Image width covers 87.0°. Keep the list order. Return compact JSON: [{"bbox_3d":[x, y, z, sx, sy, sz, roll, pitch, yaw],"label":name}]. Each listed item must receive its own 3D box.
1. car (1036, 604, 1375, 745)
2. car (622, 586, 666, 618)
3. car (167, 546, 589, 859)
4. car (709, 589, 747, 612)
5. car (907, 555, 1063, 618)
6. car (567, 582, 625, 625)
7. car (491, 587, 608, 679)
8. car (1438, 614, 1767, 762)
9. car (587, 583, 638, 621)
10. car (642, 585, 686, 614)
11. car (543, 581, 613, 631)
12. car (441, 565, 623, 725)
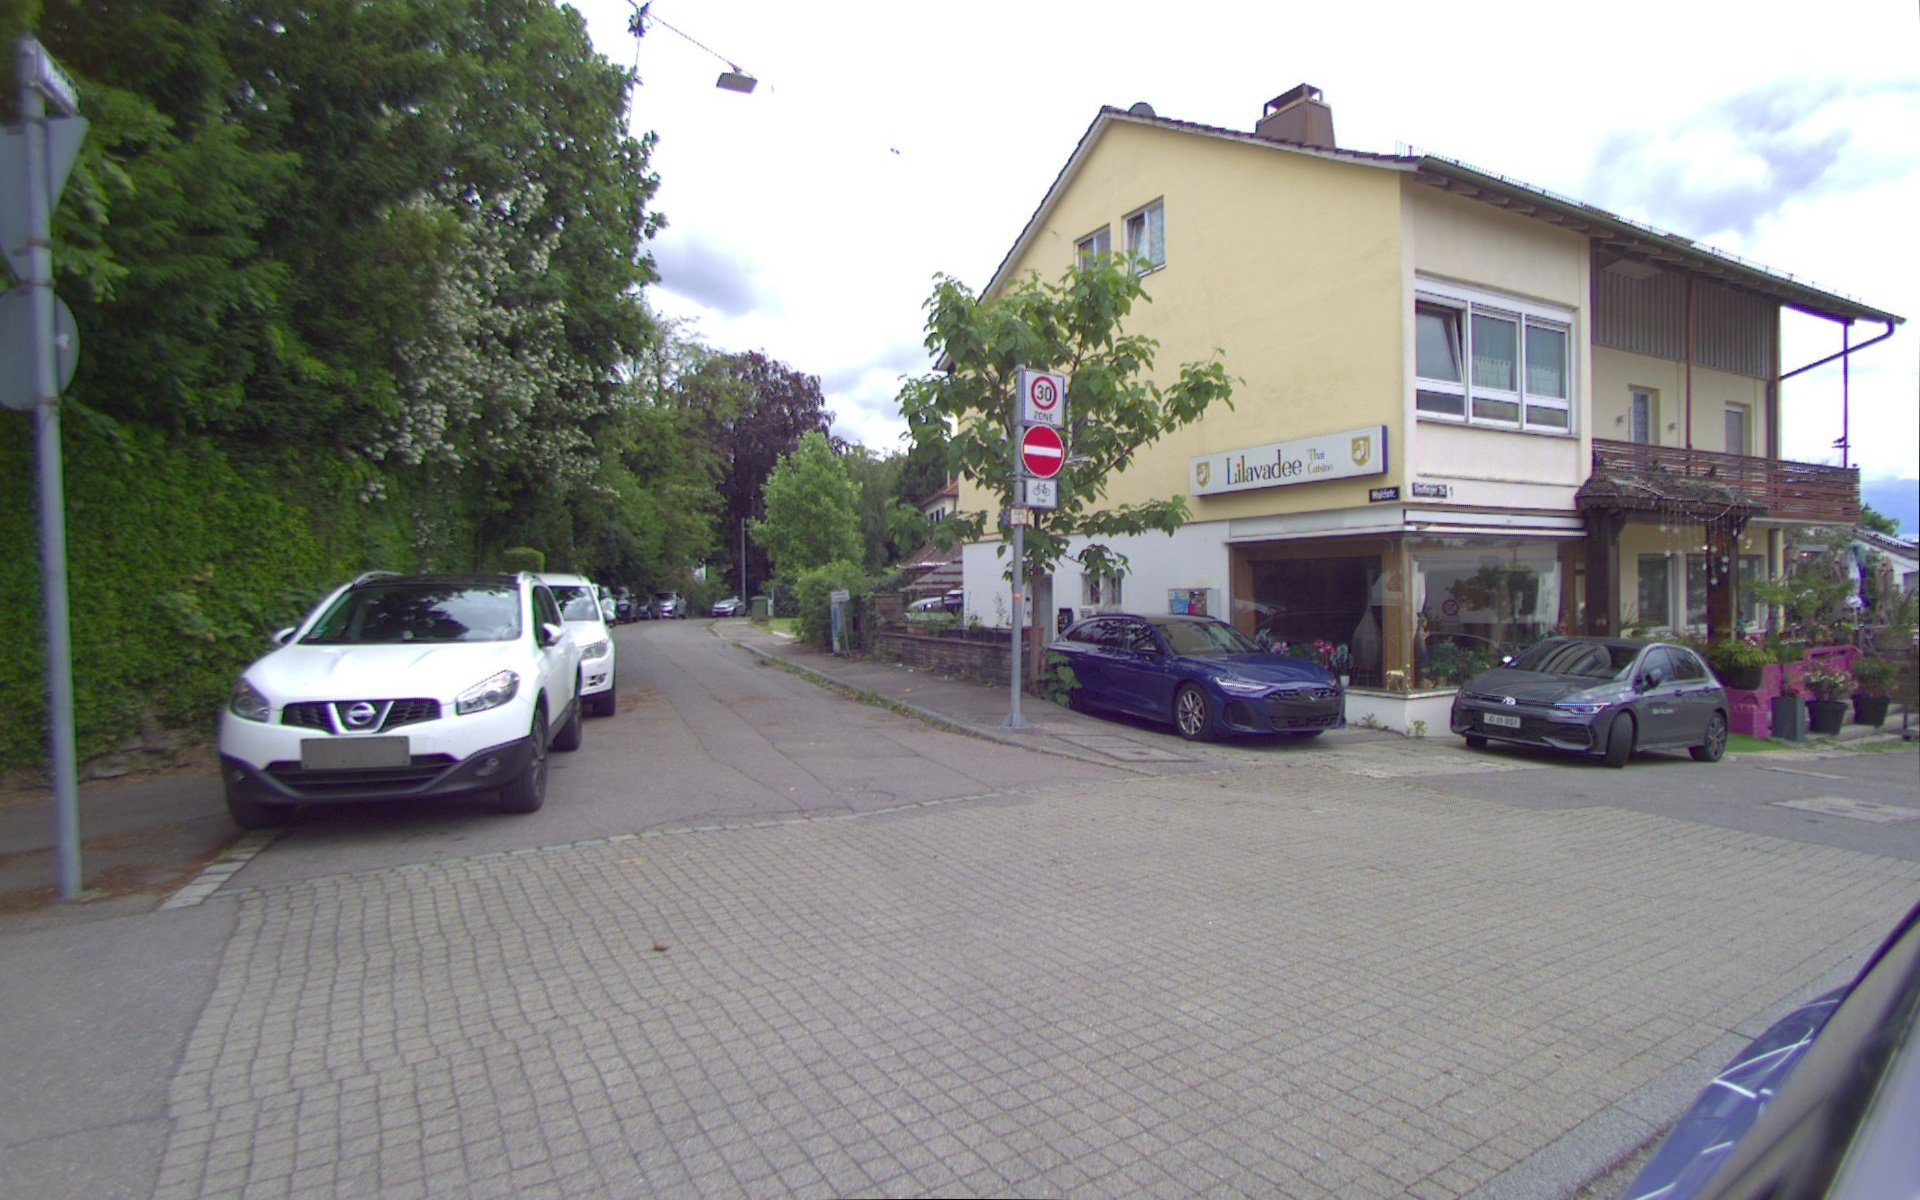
[{"bbox_3d":[2.901,0.829,13.213,1.761,1.405,4.758,2,0,-23],"label":"car"},{"bbox_3d":[-15.935,0.077,51.112,1.542,1.502,3.479,-1,1,-8],"label":"car"},{"bbox_3d":[-3.880,0.508,7.556,1.761,1.643,4.144,-1,1,-16],"label":"car"},{"bbox_3d":[-16.368,0.032,71.457,1.547,1.502,3.468,0,1,7],"label":"car"},{"bbox_3d":[0.738,-0.370,30.223,4.235,1.480,1.802,4,-2,-19],"label":"car"},{"bbox_3d":[-13.440,0.106,37.546,1.542,1.502,3.481,-1,1,-11],"label":"car"},{"bbox_3d":[-7.419,0.503,18.540,1.761,1.441,4.080,-1,1,-20],"label":"car"},{"bbox_3d":[7.929,1.066,12.374,4.242,1.480,1.800,5,-2,-34],"label":"car"},{"bbox_3d":[-14.224,0.047,41.526,1.542,1.502,3.481,-1,1,-11],"label":"car"},{"bbox_3d":[-16.259,-0.038,55.795,1.543,1.502,3.476,0,1,-3],"label":"car"},{"bbox_3d":[-12.233,0.140,32.592,1.542,1.502,3.745,-1,1,-11],"label":"car"},{"bbox_3d":[-5.191,0.435,12.611,1.761,1.643,4.080,-1,1,-20],"label":"car"}]
